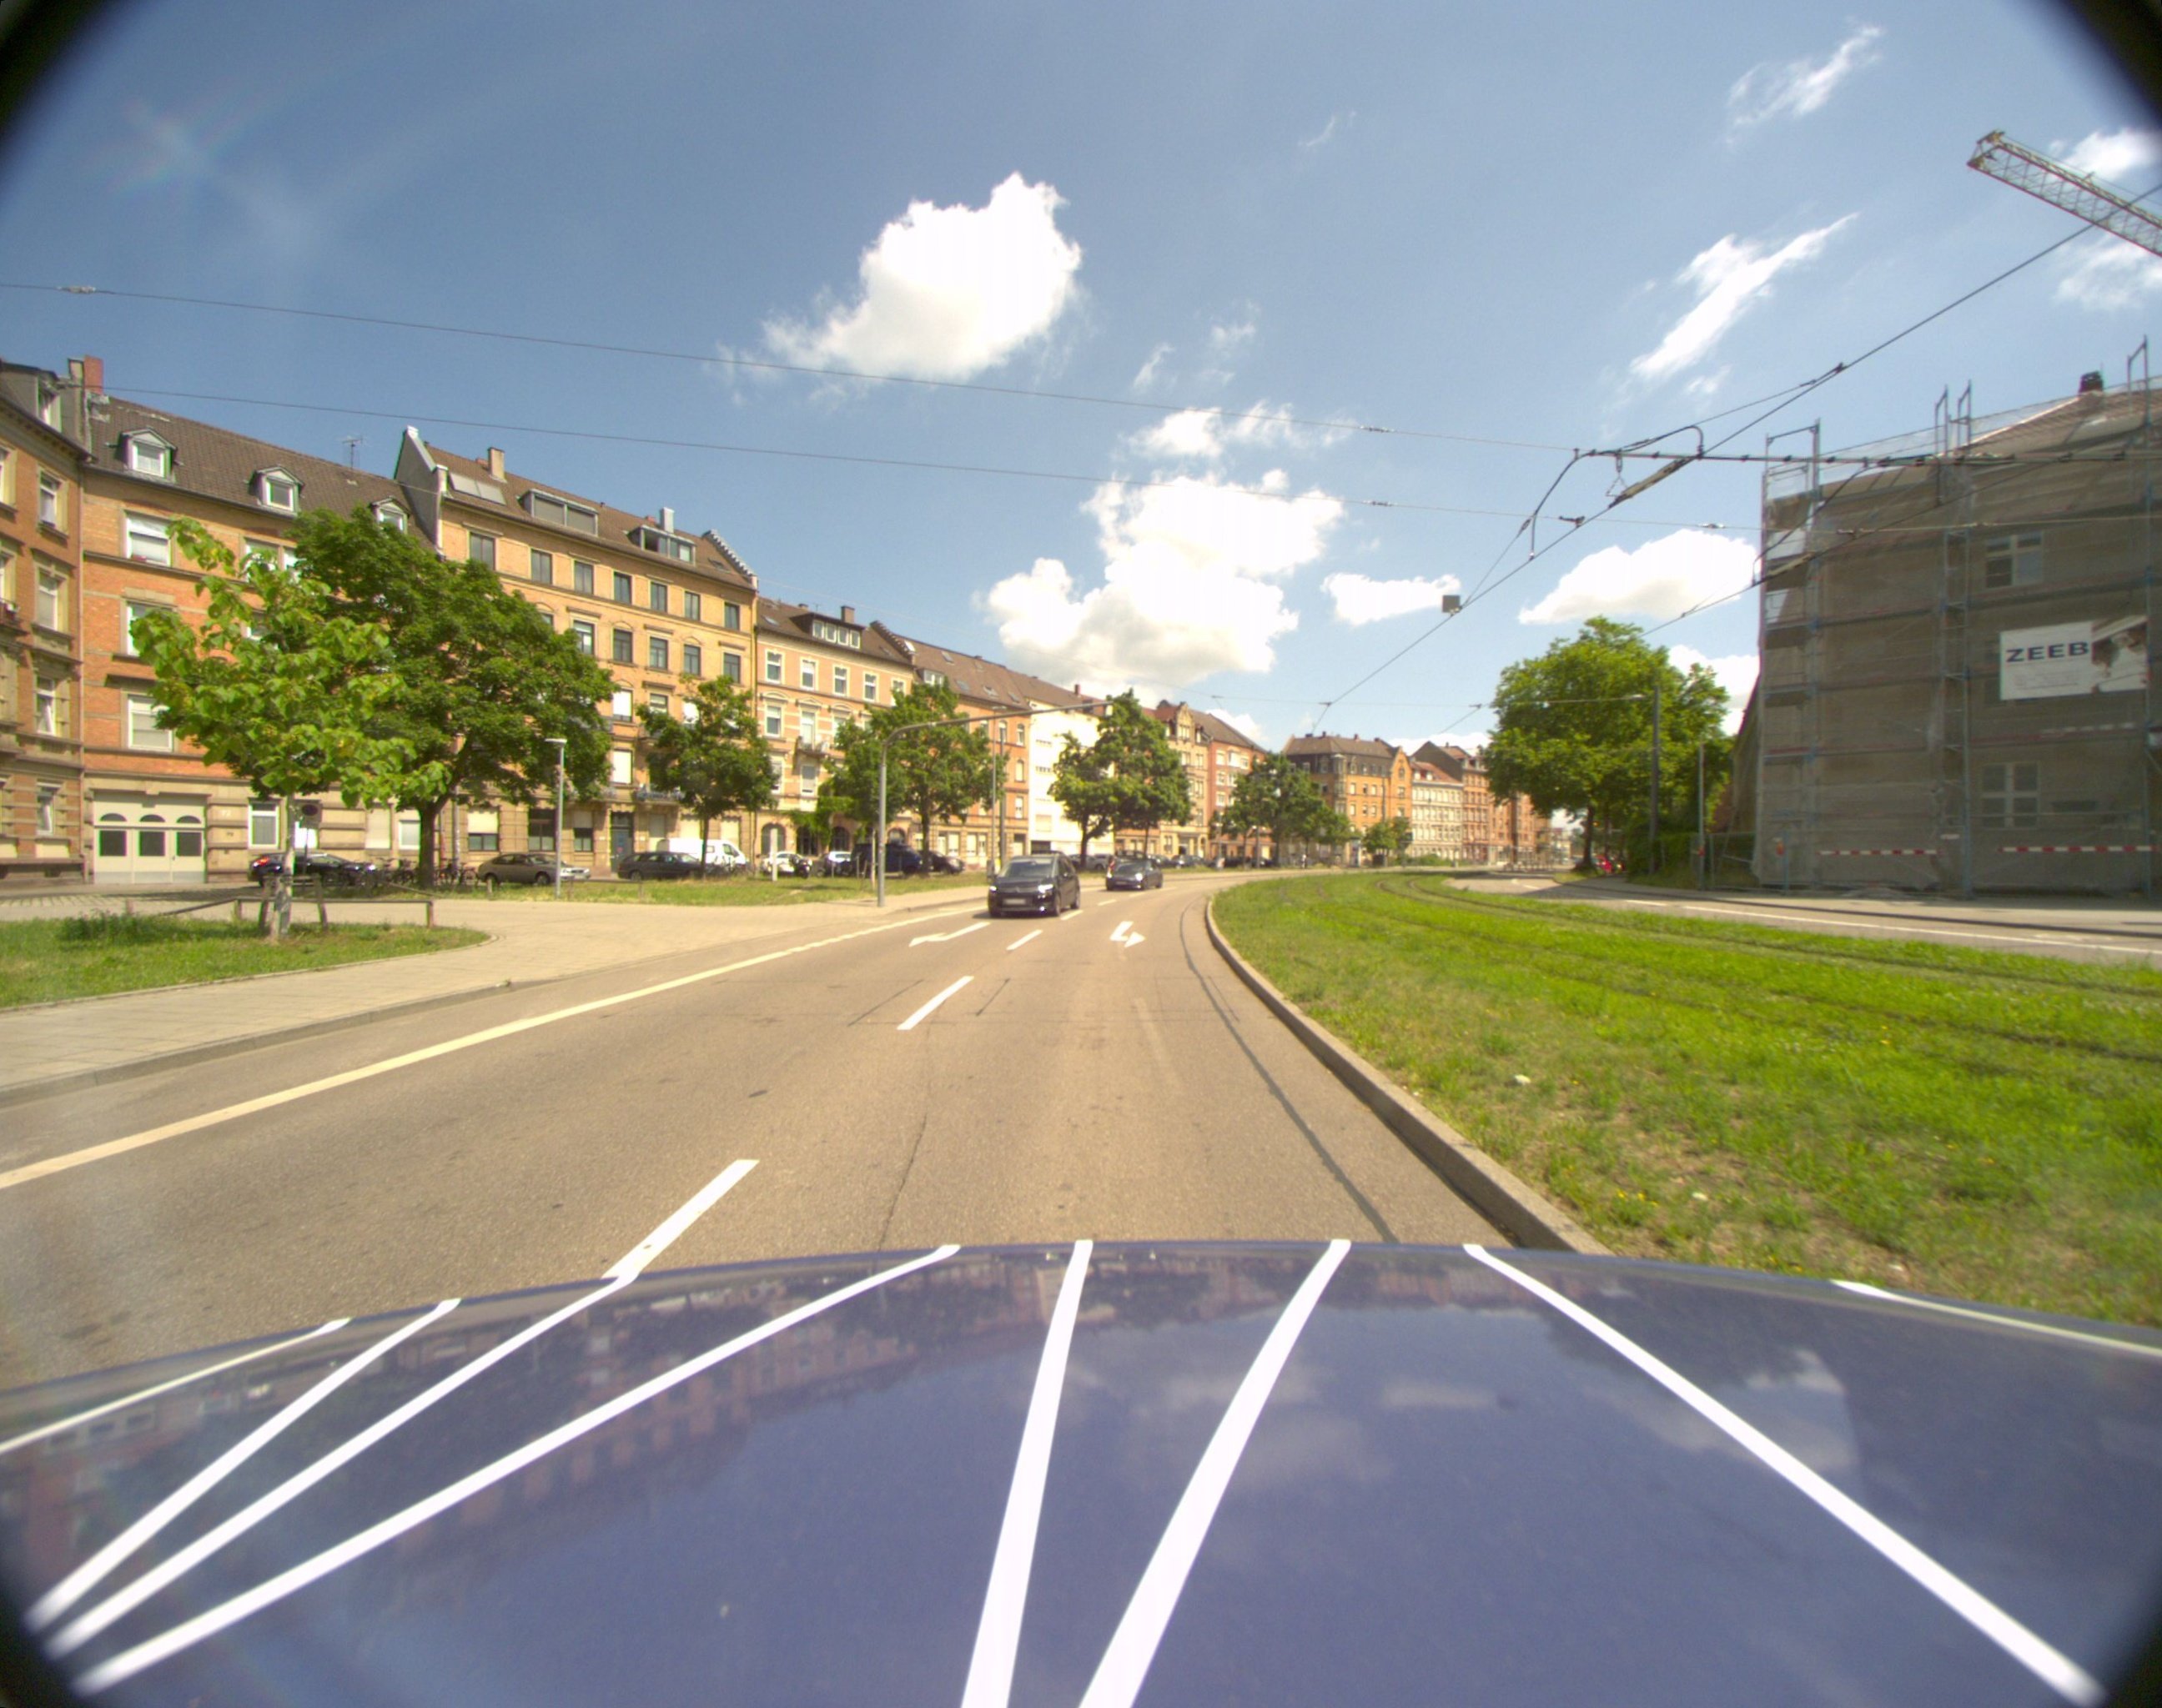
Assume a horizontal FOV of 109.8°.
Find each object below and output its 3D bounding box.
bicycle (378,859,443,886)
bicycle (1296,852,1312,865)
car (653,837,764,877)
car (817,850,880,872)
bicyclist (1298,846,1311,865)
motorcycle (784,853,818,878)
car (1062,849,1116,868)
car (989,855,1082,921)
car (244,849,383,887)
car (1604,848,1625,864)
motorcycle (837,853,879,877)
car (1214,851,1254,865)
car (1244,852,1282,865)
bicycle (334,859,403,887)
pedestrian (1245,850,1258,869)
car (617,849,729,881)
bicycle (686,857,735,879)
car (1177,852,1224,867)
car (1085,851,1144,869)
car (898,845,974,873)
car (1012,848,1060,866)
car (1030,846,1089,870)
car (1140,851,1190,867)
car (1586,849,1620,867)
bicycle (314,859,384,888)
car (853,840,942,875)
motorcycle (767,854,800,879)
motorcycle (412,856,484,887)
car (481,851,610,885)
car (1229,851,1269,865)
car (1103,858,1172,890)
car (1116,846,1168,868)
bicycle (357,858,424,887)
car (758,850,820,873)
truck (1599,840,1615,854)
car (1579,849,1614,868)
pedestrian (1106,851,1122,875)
[{"bbox_3d":[-24.348,0.664,27.588,2.387,0.950,0.544,-1,0,15],"label":"bicycle"},{"bbox_3d":[21.997,0.456,74.836,0.693,1.236,1.843,7,4,41],"label":"bicycle"},{"bbox_3d":[-21.568,0.160,44.233,2.111,2.166,5.405,-1,0,39],"label":"car"},{"bbox_3d":[-15.819,0.462,51.857,1.659,1.483,3.861,-1,0,39],"label":"car"},{"bbox_3d":[22.045,0.164,74.839,0.694,1.815,0.958,7,4,41],"label":"bicyclist"},{"bbox_3d":[-13.525,0.550,36.675,1.783,1.160,0.641,0,1,37],"label":"motorcycle"},{"bbox_3d":[0.634,0.356,59.388,4.081,1.397,1.853,-1,0,4],"label":"car"},{"bbox_3d":[-1.134,0.842,20.898,1.874,1.610,4.191,-1,0,6],"label":"car"},{"bbox_3d":[-31.569,0.546,31.358,1.659,1.483,3.861,-1,0,39],"label":"car"},{"bbox_3d":[50.860,0.193,72.385,1.487,1.445,2.889,-2,-1,37],"label":"car"},{"bbox_3d":[-11.248,0.553,38.374,1.910,1.160,0.638,0,1,-39],"label":"motorcycle"},{"bbox_3d":[15.833,0.441,78.826,3.993,1.372,1.963,-1,0,11],"label":"car"},{"bbox_3d":[20.030,0.539,83.707,3.992,1.346,1.964,-1,0,16],"label":"car"},{"bbox_3d":[-24.702,0.660,26.352,2.387,0.963,0.544,-1,0,15],"label":"bicycle"},{"bbox_3d":[15.152,0.469,67.530,0.700,1.695,1.046,1,4,37],"label":"pedestrian"},{"bbox_3d":[-18.542,0.475,34.619,4.253,1.419,1.807,0,0,9],"label":"car"},{"bbox_3d":[-15.866,0.609,32.557,0.542,0.896,1.825,-1,0,35],"label":"bicycle"},{"bbox_3d":[11.415,0.507,72.973,4.265,1.372,1.853,-1,0,3],"label":"car"},{"bbox_3d":[2.759,0.460,61.885,4.688,1.372,1.853,-1,0,5],"label":"car"},{"bbox_3d":[-8.919,0.310,46.828,4.167,1.646,1.918,-1,0,12],"label":"car"},{"bbox_3d":[-3.906,0.264,66.952,1.833,1.483,4.236,-1,0,39],"label":"car"},{"bbox_3d":[-1.598,0.311,57.174,4.144,1.731,1.853,-1,0,8],"label":"car"},{"bbox_3d":[7.486,0.451,67.937,4.265,1.372,1.853,-1,0,3],"label":"car"},{"bbox_3d":[42.196,0.333,61.353,1.927,1.411,4.059,-2,-1,39],"label":"car"},{"bbox_3d":[-24.844,0.660,25.796,2.387,0.963,0.544,-1,0,15],"label":"bicycle"},{"bbox_3d":[-10.711,0.198,44.469,4.623,1.916,1.918,-1,0,8],"label":"car"},{"bbox_3d":[-14.080,0.559,35.964,1.783,1.160,0.641,0,1,37],"label":"motorcycle"},{"bbox_3d":[-23.685,0.650,28.442,2.387,1.119,0.813,-1,0,15],"label":"motorcycle"},{"bbox_3d":[-21.121,0.558,30.011,4.157,1.237,1.865,-1,0,15],"label":"car"},{"bbox_3d":[17.857,0.415,81.026,3.995,1.372,1.962,-1,0,6],"label":"car"},{"bbox_3d":[2.786,0.945,36.732,1.911,1.385,4.320,-1,0,25],"label":"car"},{"bbox_3d":[5.169,0.272,64.795,4.362,1.731,1.853,-1,0,3],"label":"car"},{"bbox_3d":[-24.525,0.659,26.972,2.387,0.963,0.544,-1,0,15],"label":"bicycle"},{"bbox_3d":[-18.516,0.444,48.299,1.564,1.395,3.358,0,1,41],"label":"car"},{"bbox_3d":[125.340,-1.693,181.020,2.639,3.089,7.238,3,2,39],"label":"truck"},{"bbox_3d":[38.626,0.344,56.888,1.927,1.360,4.327,-2,-1,37],"label":"car"},{"bbox_3d":[2.184,0.577,50.101,0.700,1.583,0.907,0,0,38],"label":"pedestrian"}]
